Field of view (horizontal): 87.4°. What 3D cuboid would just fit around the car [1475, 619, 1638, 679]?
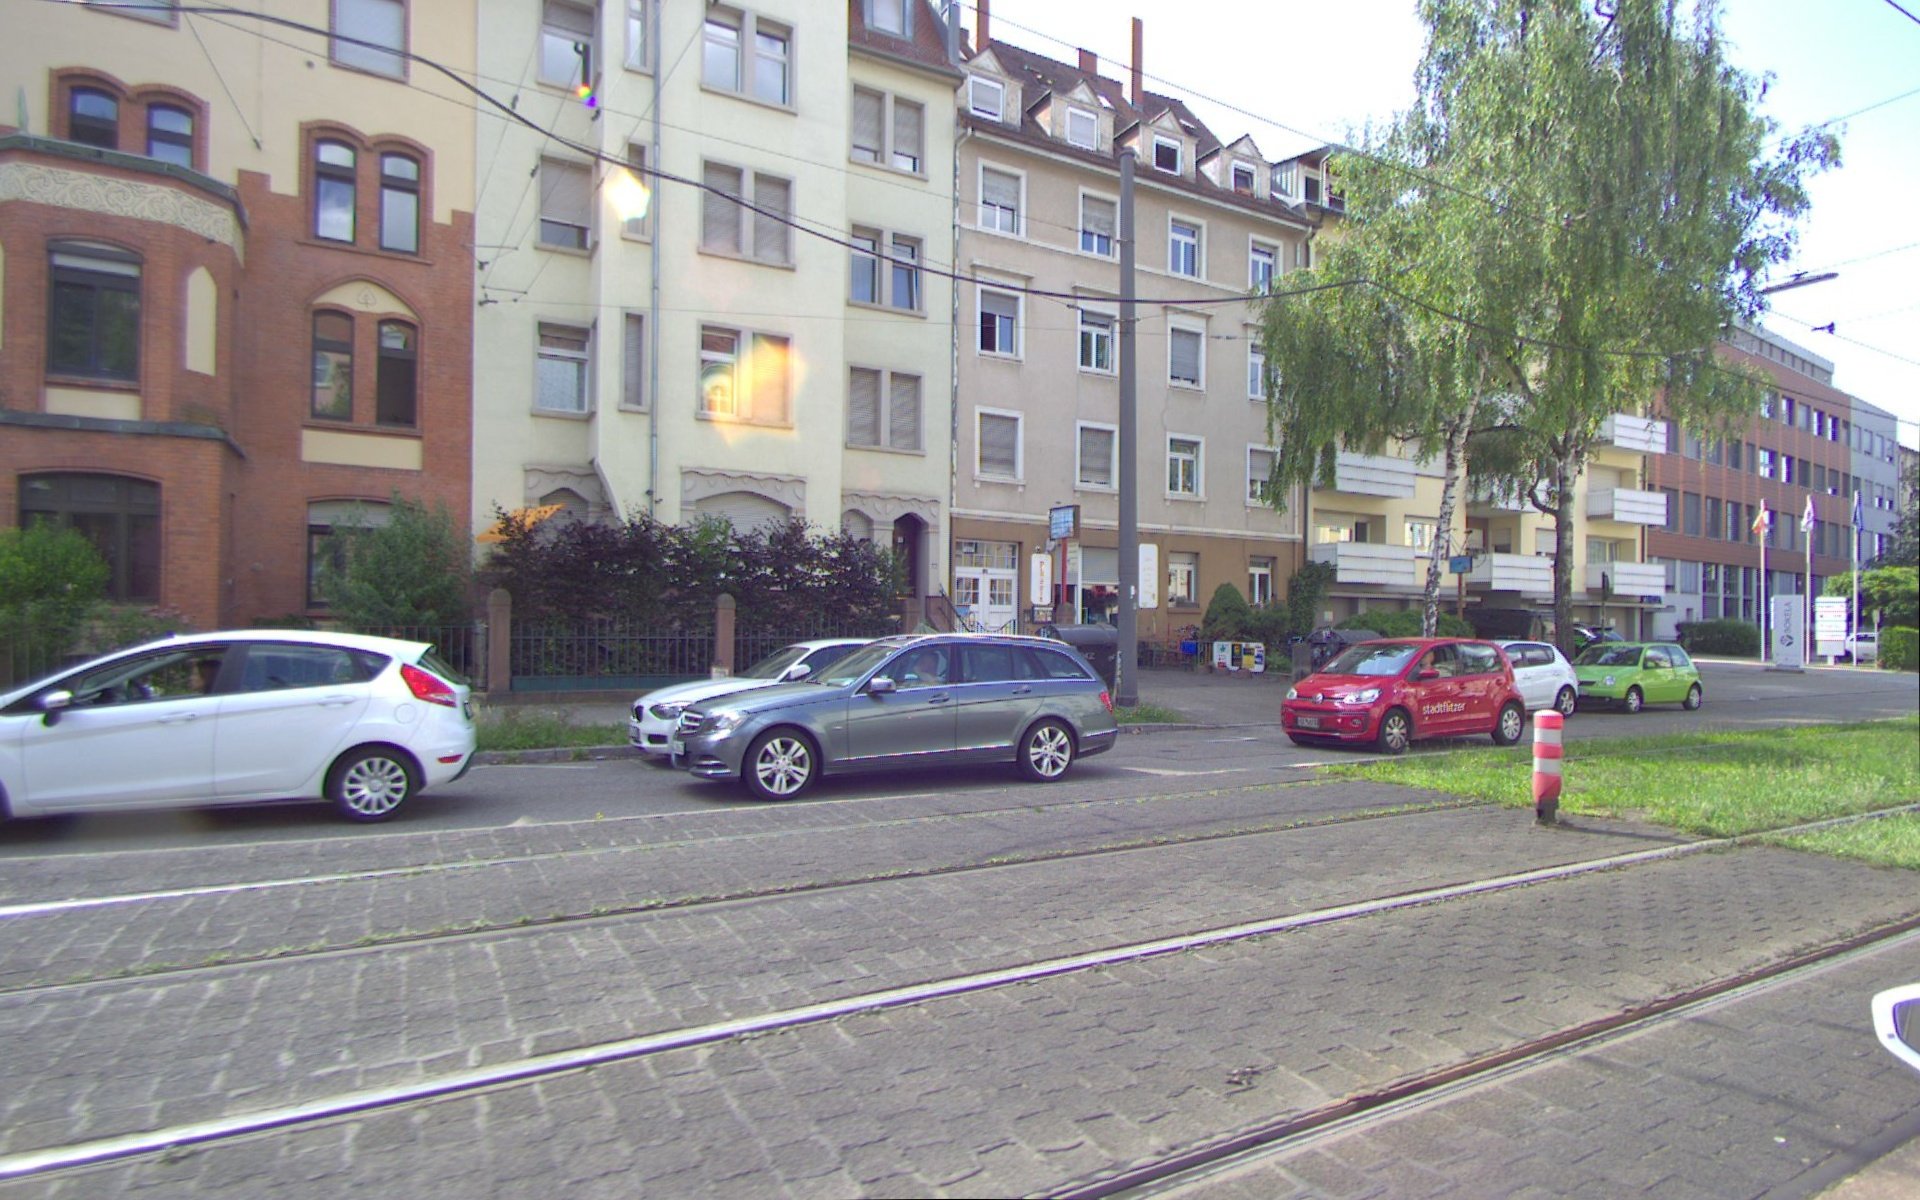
[{"bbox_3d":[18.573,1.488,31.464,1.948,1.623,3.971,1,0,-28],"label":"car"}]

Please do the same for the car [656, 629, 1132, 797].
[{"bbox_3d":[-0.603,1.035,10.087,4.454,1.374,1.749,2,-3,-27],"label":"car"}]

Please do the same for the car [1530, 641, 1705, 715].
[{"bbox_3d":[14.011,1.603,21.388,3.568,1.451,1.588,1,-2,-28],"label":"car"}]

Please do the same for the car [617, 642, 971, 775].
[{"bbox_3d":[-2.006,1.217,12.264,3.943,1.374,1.749,1,-2,-27],"label":"car"}]

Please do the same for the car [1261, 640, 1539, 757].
[{"bbox_3d":[6.025,1.260,13.713,3.646,1.405,1.573,1,-2,-28],"label":"car"}]

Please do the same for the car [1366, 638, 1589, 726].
[{"bbox_3d":[9.705,1.467,18.793,4.172,1.497,1.638,1,-2,-28],"label":"car"}]

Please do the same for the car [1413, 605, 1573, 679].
[{"bbox_3d":[16.232,1.225,30.812,1.910,2.040,3.976,1,1,-24],"label":"car"}]

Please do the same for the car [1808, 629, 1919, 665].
[{"bbox_3d":[44.199,2.267,48.964,1.977,1.617,3.967,1,-1,-31],"label":"car"}]

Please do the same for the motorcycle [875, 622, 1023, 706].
[{"bbox_3d":[-0.161,0.998,16.161,2.271,1.259,0.895,1,-1,-34],"label":"motorcycle"}]

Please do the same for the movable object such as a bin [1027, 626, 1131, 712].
[{"bbox_3d":[2.111,1.197,17.829,1.503,1.385,0.946,1,4,-29],"label":"movable object such as a bin"}]

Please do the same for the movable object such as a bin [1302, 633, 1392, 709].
[{"bbox_3d":[7.915,1.427,20.563,1.503,1.449,0.946,1,1,-29],"label":"movable object such as a bin"}]

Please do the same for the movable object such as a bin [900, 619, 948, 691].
[{"bbox_3d":[-0.710,1.070,19.713,0.691,1.380,0.669,1,-1,-31],"label":"movable object such as a bin"}]

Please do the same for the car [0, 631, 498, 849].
[{"bbox_3d":[-5.866,0.986,7.784,4.076,1.433,1.751,2,-3,-24],"label":"car"}]

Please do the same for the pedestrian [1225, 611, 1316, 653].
[{"bbox_3d":[9.016,0.922,29.296,1.116,1.144,2.503,1,-1,-26],"label":"pedestrian"}]
